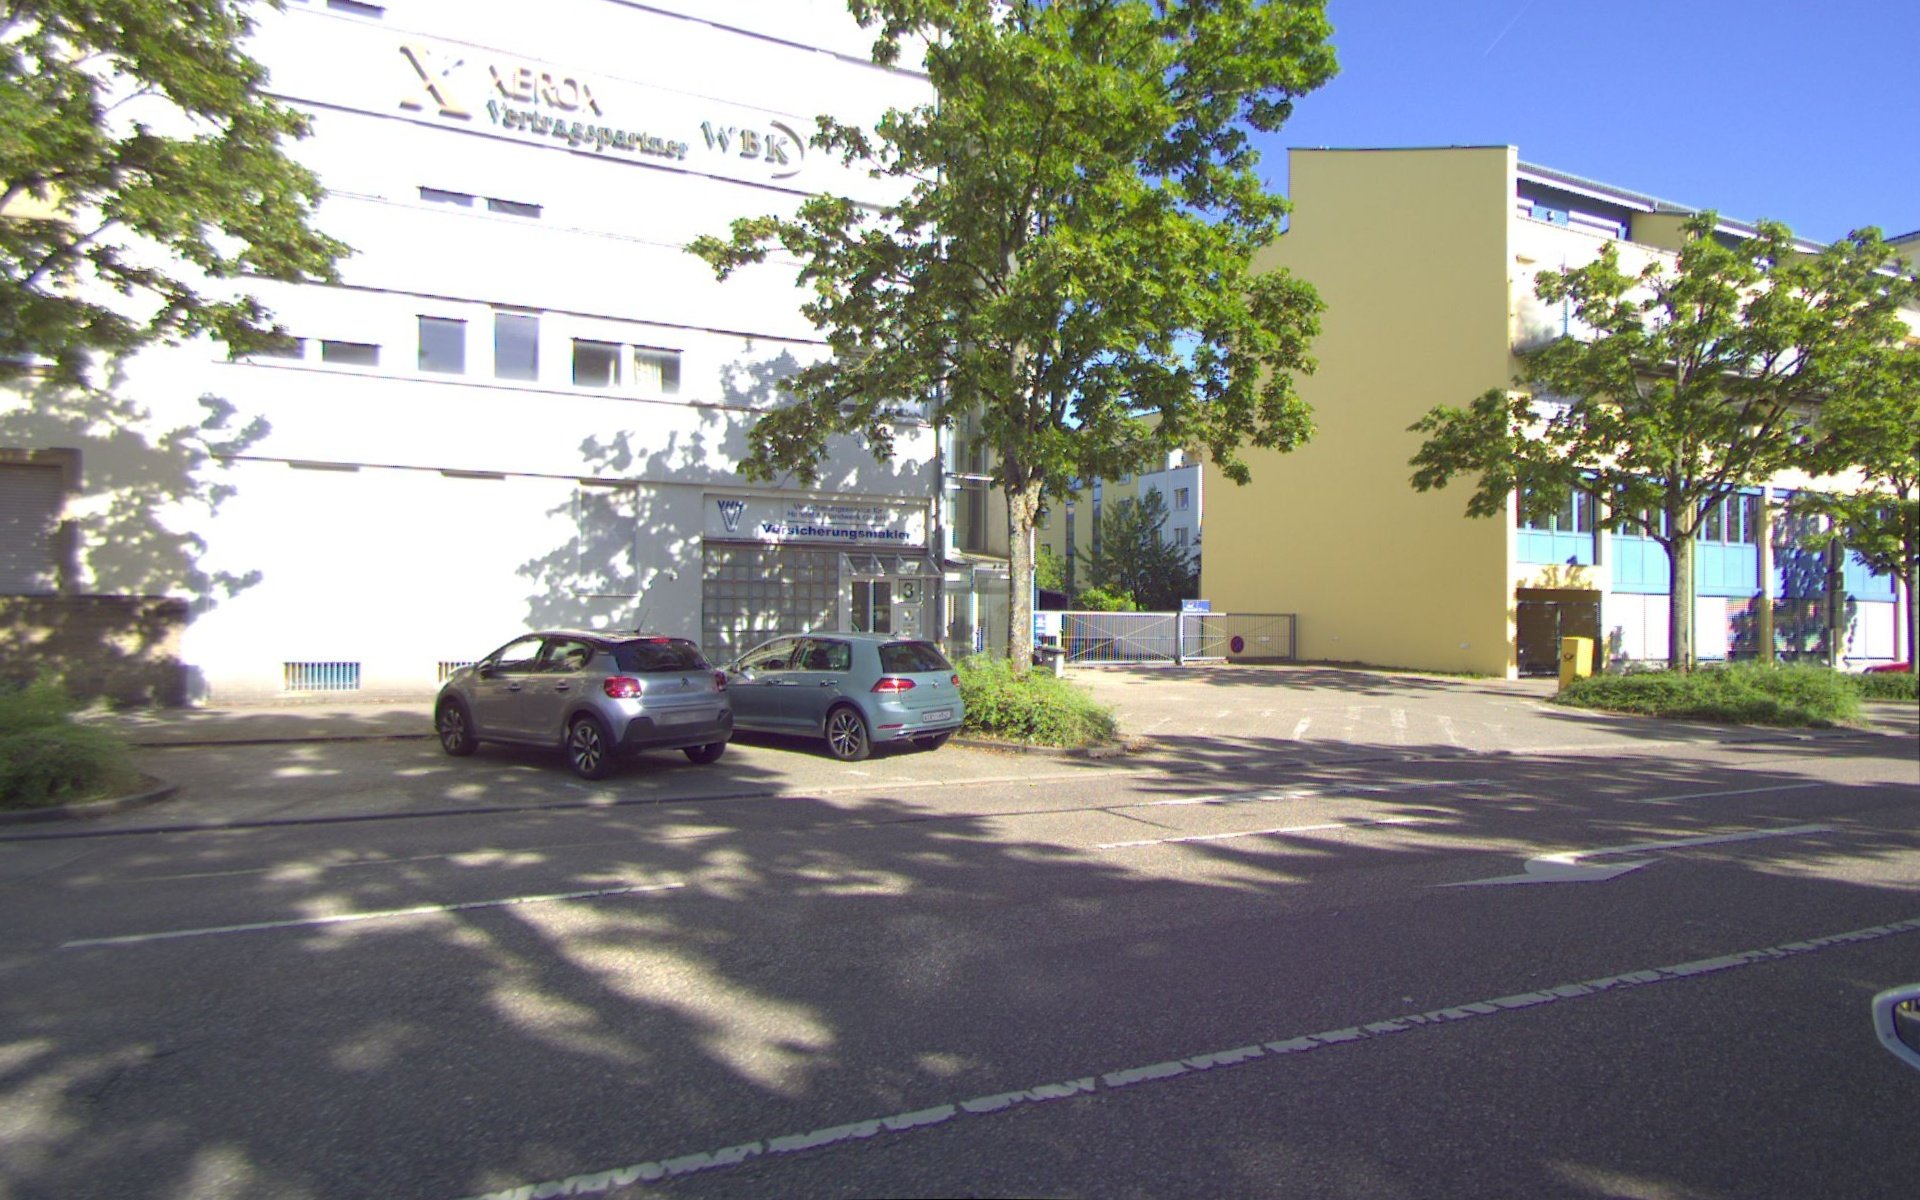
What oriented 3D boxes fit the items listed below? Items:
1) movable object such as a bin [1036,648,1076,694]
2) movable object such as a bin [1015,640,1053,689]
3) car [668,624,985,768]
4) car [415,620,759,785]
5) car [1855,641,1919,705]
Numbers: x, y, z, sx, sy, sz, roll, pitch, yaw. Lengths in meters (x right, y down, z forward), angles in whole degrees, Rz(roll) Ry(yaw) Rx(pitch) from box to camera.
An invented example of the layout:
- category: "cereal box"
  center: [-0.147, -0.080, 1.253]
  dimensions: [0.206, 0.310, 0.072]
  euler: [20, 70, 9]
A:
- category: "movable object such as a bin"
  center: [2.053, 1.510, 21.488]
  dimensions: [0.706, 0.962, 0.464]
  euler: [1, -1, -32]
- category: "movable object such as a bin"
  center: [1.689, 1.462, 22.817]
  dimensions: [0.706, 1.068, 0.464]
  euler: [1, -1, -32]
- category: "car"
  center: [-1.772, 1.117, 12.958]
  dimensions: [3.822, 1.530, 1.823]
  euler: [0, -2, 35]
- category: "car"
  center: [-4.331, 1.040, 11.516]
  dimensions: [3.821, 1.530, 1.823]
  euler: [0, -2, 34]
- category: "car"
  center: [24.916, 1.801, 24.649]
  dimensions: [4.358, 1.572, 1.911]
  euler: [-1, -3, 42]
